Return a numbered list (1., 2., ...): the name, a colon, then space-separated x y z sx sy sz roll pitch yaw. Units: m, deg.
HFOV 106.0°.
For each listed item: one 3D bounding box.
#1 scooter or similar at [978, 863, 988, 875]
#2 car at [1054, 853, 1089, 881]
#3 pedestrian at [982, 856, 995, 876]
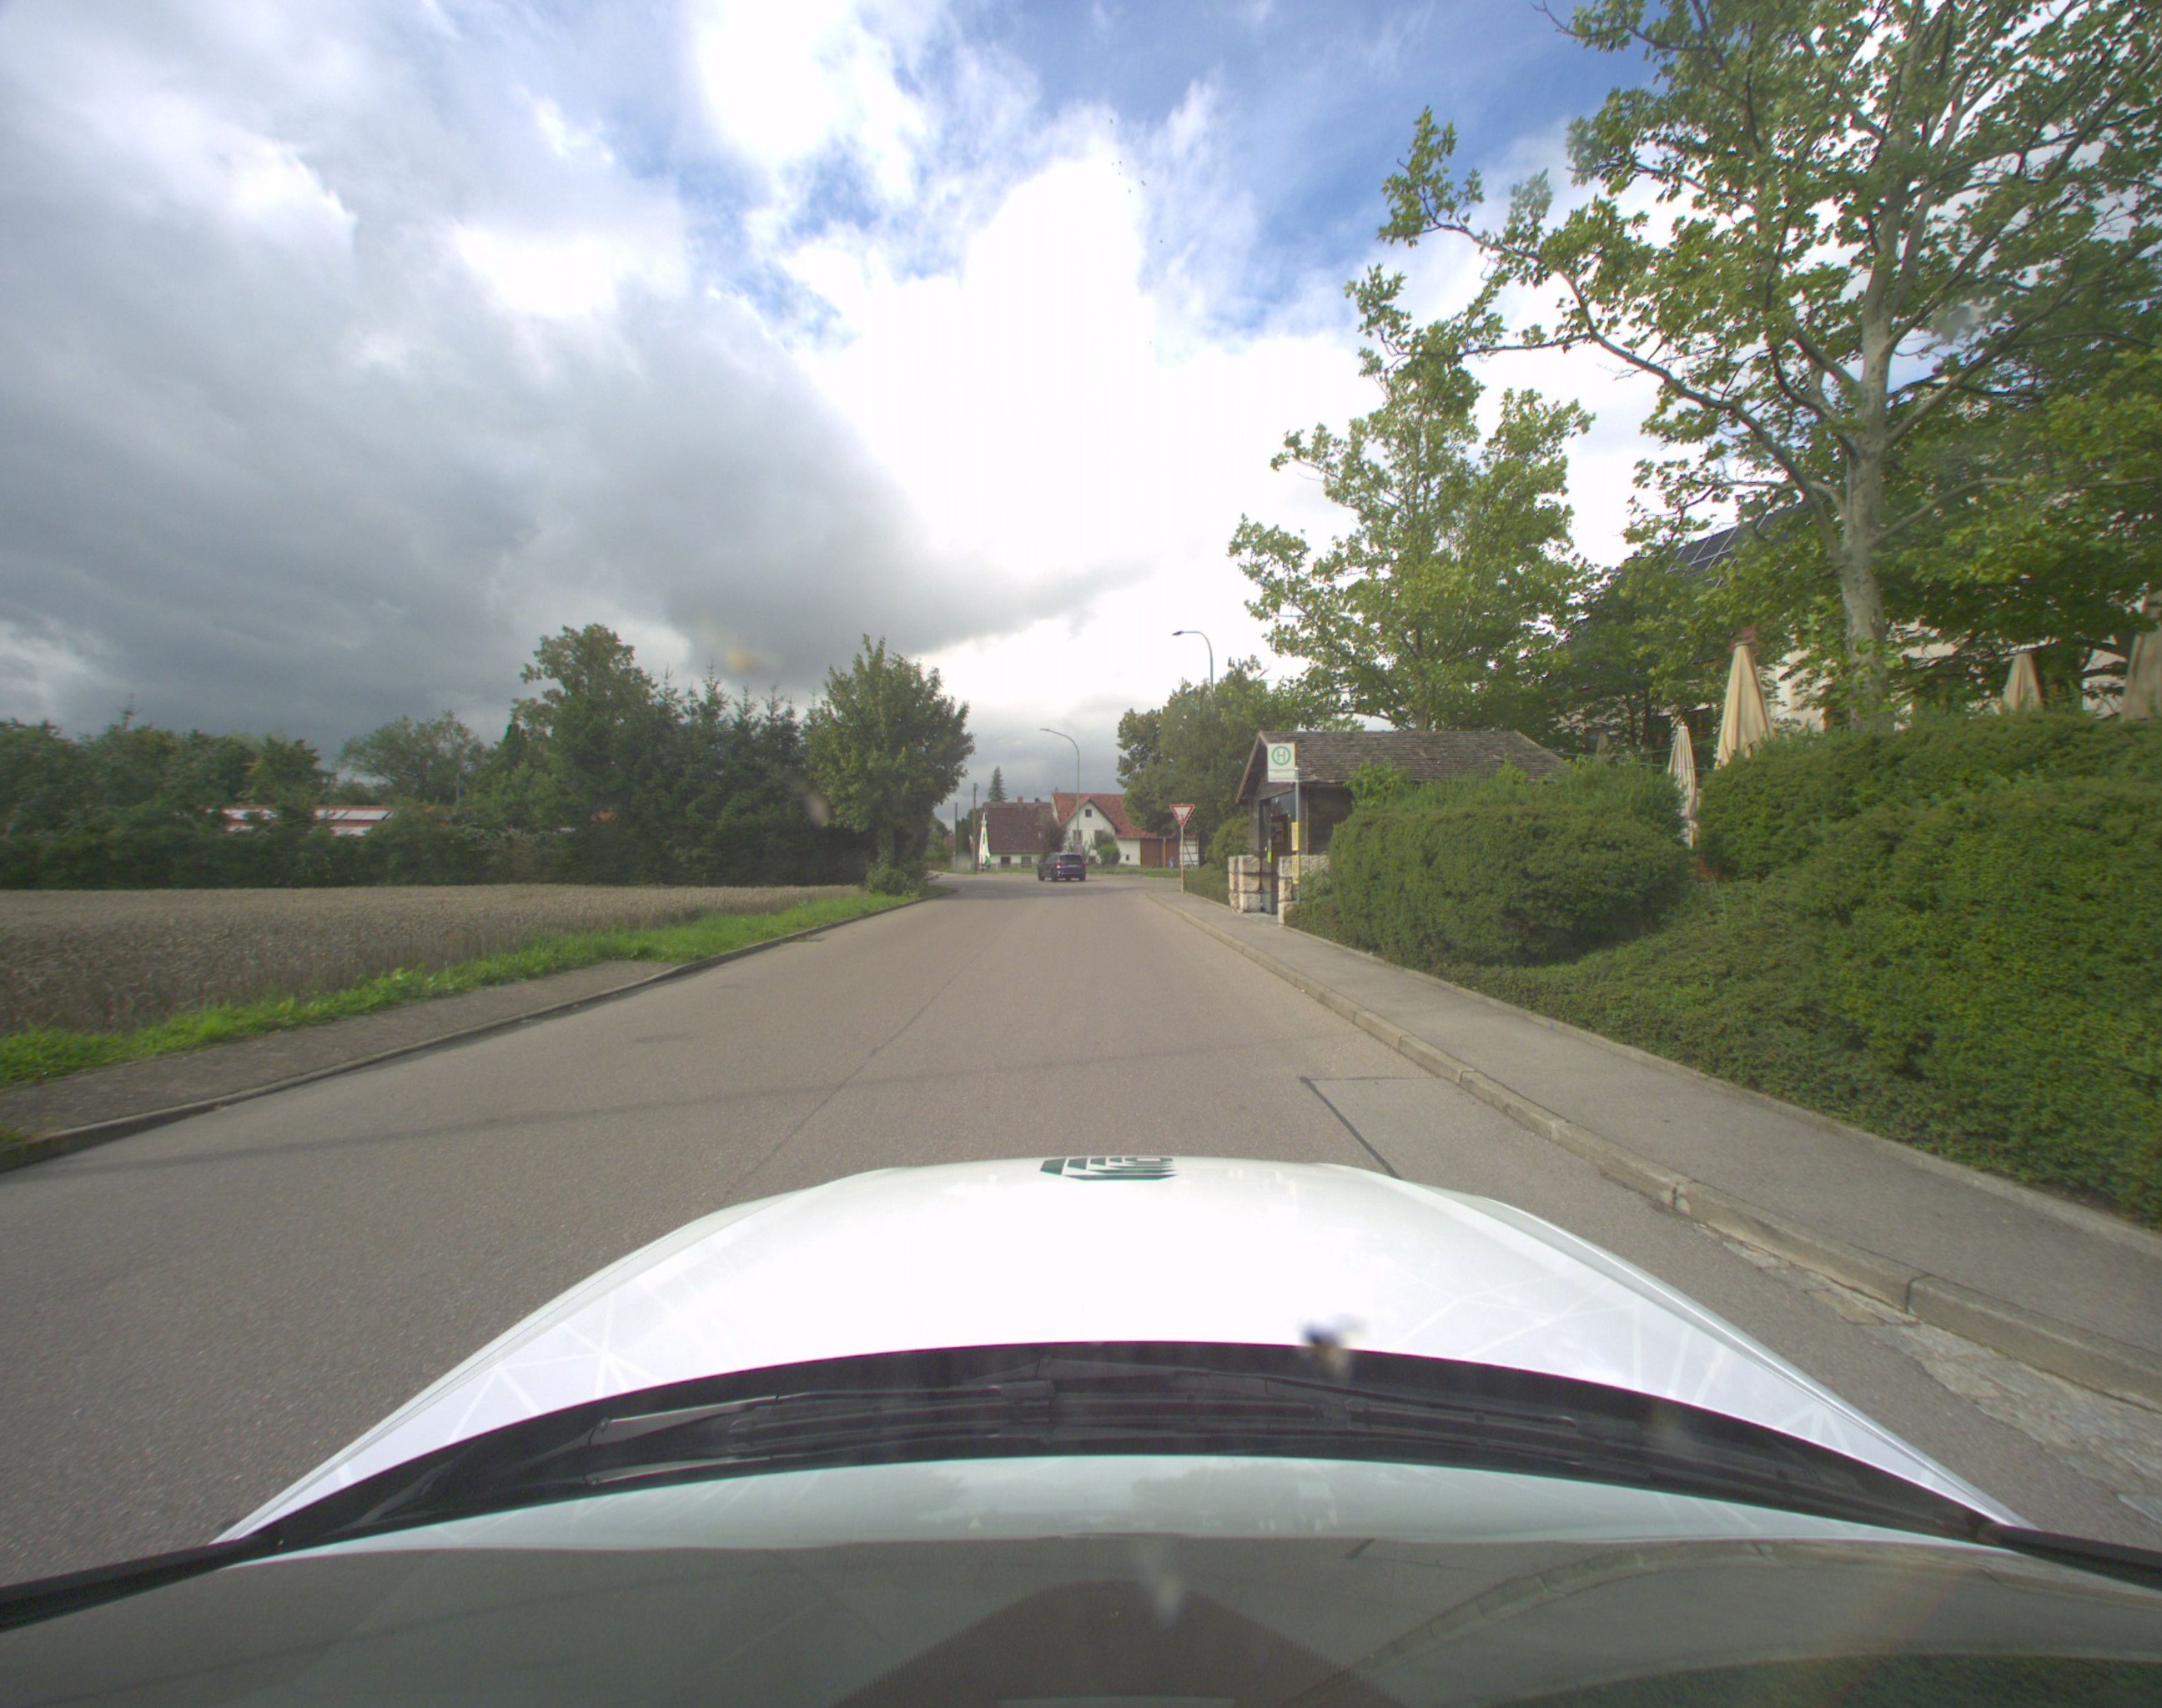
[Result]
1. scooter or similar: -8.439 1.312 70.008 0.635 0.948 0.616 5 -3 -32
2. car: -0.568 0.687 44.742 1.794 1.462 3.659 0 0 -2
3. pedestrian: -7.930 1.004 69.509 0.794 1.665 0.705 5 -3 -32
